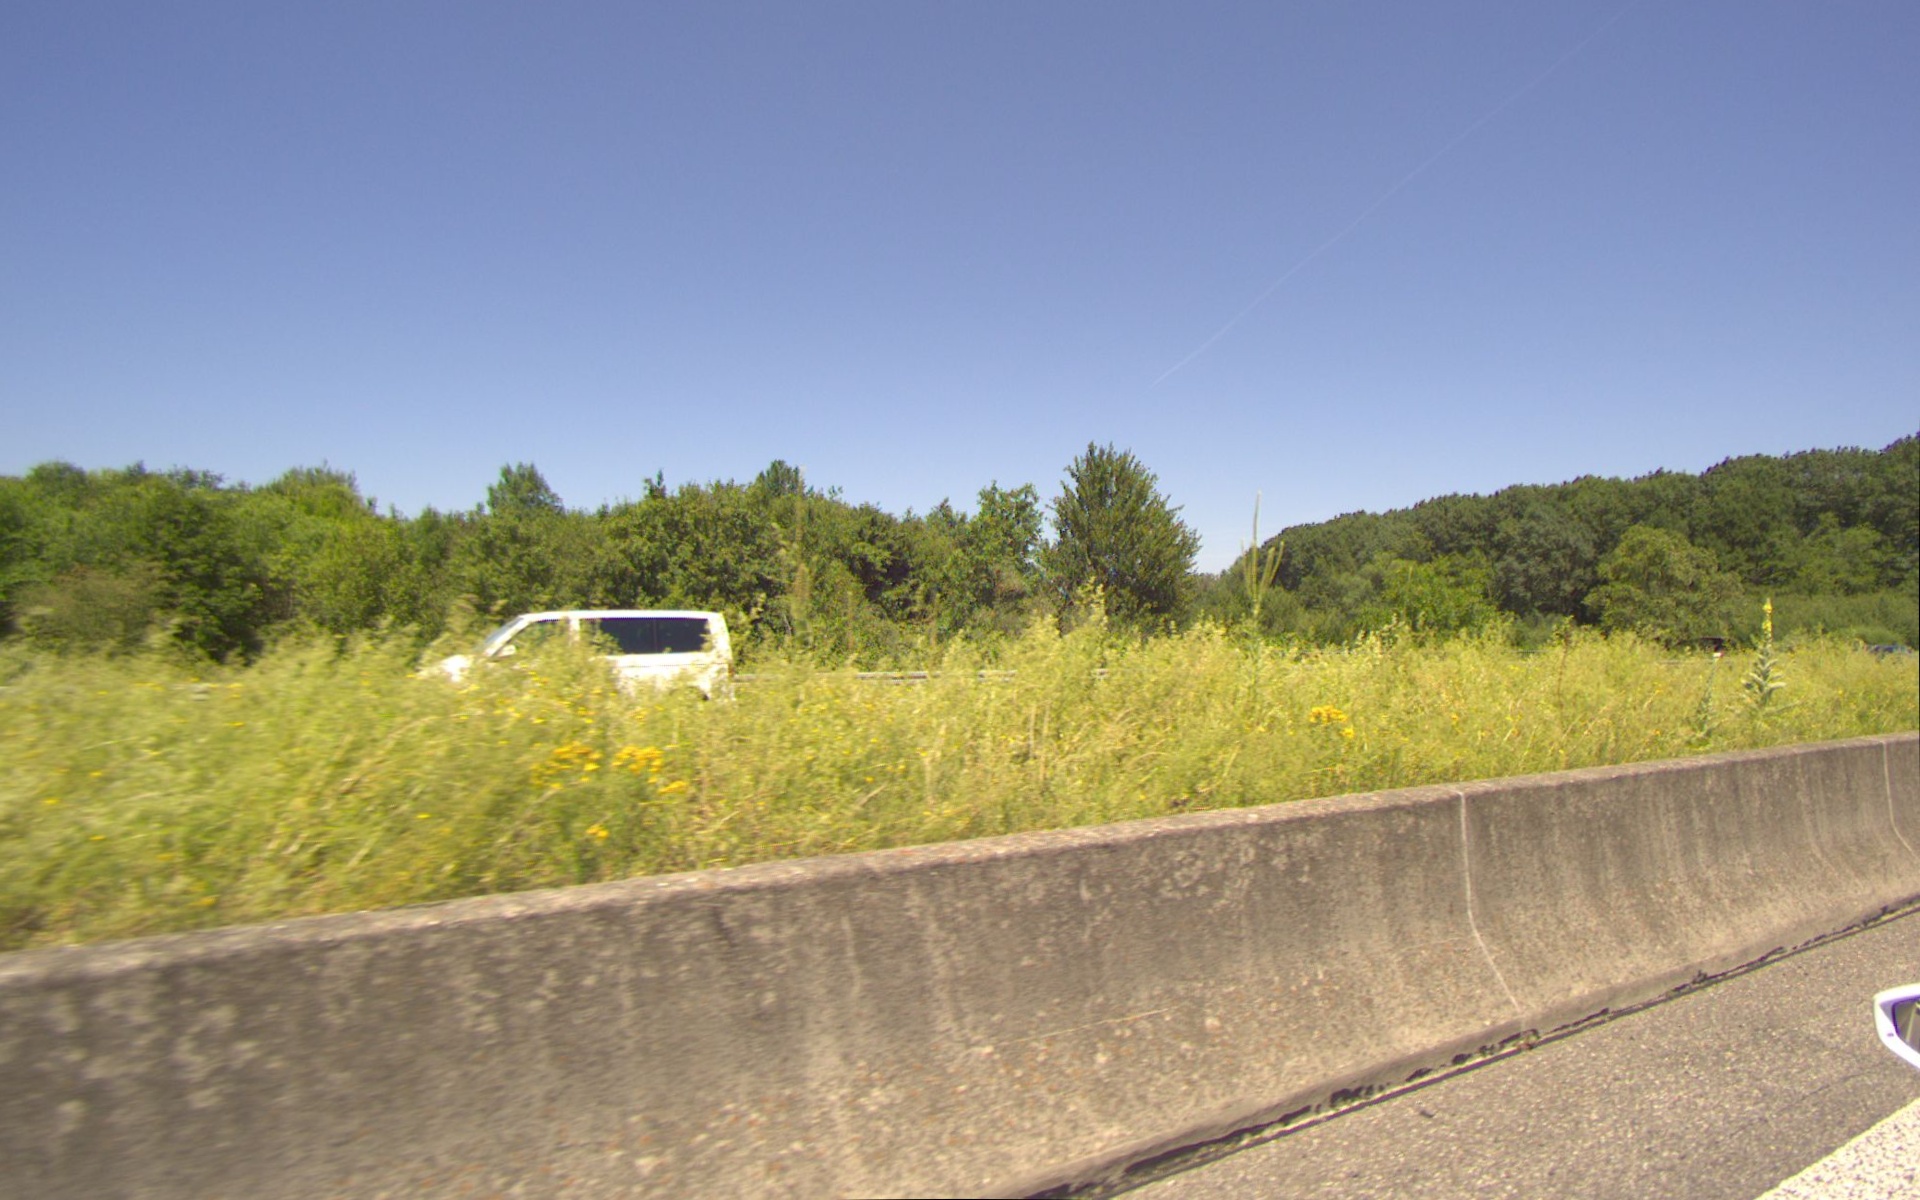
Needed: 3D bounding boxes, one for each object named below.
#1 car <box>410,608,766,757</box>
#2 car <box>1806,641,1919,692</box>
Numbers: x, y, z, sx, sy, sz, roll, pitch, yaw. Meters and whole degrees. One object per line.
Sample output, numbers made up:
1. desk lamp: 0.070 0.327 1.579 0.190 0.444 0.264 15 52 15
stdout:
1. car: -5.792 1.188 15.857 5.016 2.040 1.873 1 -1 -31
2. car: 28.121 2.034 31.055 4.209 1.483 1.662 1 -4 -30
